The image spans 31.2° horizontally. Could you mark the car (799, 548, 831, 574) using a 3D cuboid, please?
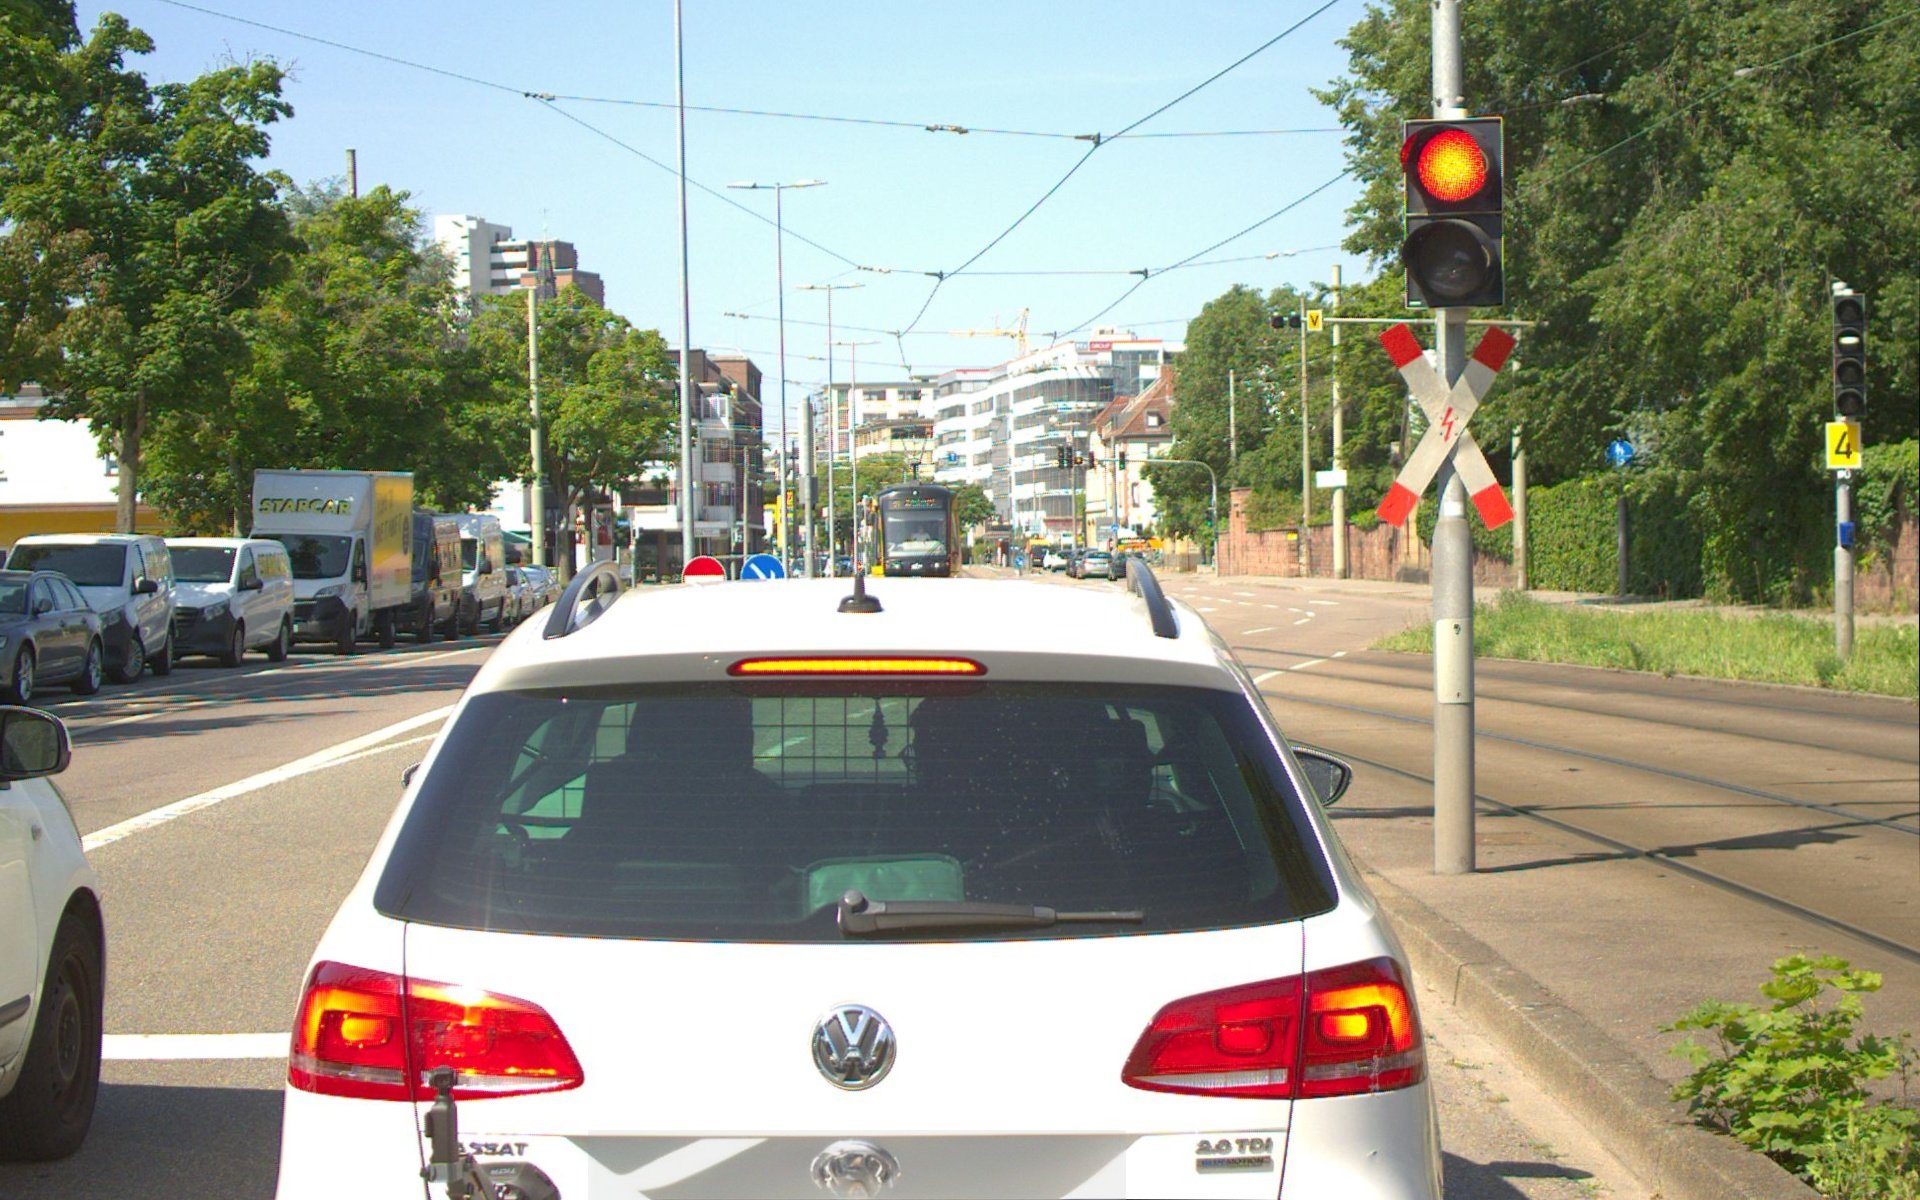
[{"bbox_3d":[-8.791,-2.362,208.012,1.705,1.468,4.590,-2,1,-5],"label":"car"}]

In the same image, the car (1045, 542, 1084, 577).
[{"bbox_3d":[5.819,-2.284,192.436,1.863,1.861,5.062,1,1,-1],"label":"car"}]

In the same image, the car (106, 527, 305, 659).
[{"bbox_3d":[-11.316,-0.154,51.908,1.863,1.861,5.414,1,1,-1],"label":"car"}]

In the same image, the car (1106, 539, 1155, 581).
[{"bbox_3d":[7.956,-1.890,160.679,1.863,1.861,5.062,1,1,-1],"label":"car"}]

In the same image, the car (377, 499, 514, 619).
[{"bbox_3d":[-11.276,-0.918,75.759,2.123,2.508,5.733,1,1,0],"label":"car"}]

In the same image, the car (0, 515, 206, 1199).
[{"bbox_3d":[-2.954,0.590,7.341,1.662,1.542,4.547,0,1,0],"label":"car"}]

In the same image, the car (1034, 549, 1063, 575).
[{"bbox_3d":[6.456,-2.794,251.092,1.863,1.861,5.062,1,1,-1],"label":"car"}]

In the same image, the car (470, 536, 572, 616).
[{"bbox_3d":[-10.799,-0.619,84.873,1.863,1.861,5.414,1,1,-1],"label":"car"}]

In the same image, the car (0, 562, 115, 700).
[{"bbox_3d":[-10.970,0.301,38.787,1.863,1.411,4.280,1,1,-1],"label":"car"}]

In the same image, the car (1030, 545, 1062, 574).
[{"bbox_3d":[5.752,-2.750,231.207,1.863,1.861,5.062,1,1,-1],"label":"car"}]

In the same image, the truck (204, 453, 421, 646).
[{"bbox_3d":[-11.253,-0.902,60.321,2.421,3.139,6.997,1,1,0],"label":"truck"}]

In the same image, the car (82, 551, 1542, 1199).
[{"bbox_3d":[-0.193,0.657,6.200,1.762,1.425,4.000,-1,1,-1],"label":"car"}]

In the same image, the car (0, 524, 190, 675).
[{"bbox_3d":[-11.424,-0.057,45.323,1.863,1.861,5.075,1,1,-6],"label":"car"}]

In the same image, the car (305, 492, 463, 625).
[{"bbox_3d":[-11.384,-0.846,68.323,2.123,2.508,5.733,1,1,0],"label":"car"}]

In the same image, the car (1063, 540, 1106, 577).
[{"bbox_3d":[6.369,-2.154,176.840,1.863,1.861,5.062,1,1,-1],"label":"car"}]

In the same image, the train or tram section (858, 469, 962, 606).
[{"bbox_3d":[-1.508,-1.910,104.066,2.870,3.842,12.392,-1,1,-1],"label":"train or tram section"}]

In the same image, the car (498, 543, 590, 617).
[{"bbox_3d":[-11.053,-0.570,91.690,1.863,1.861,5.414,1,1,-1],"label":"car"}]

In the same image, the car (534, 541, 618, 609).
[{"bbox_3d":[-10.975,-0.753,98.605,1.863,1.861,5.414,1,1,-1],"label":"car"}]
